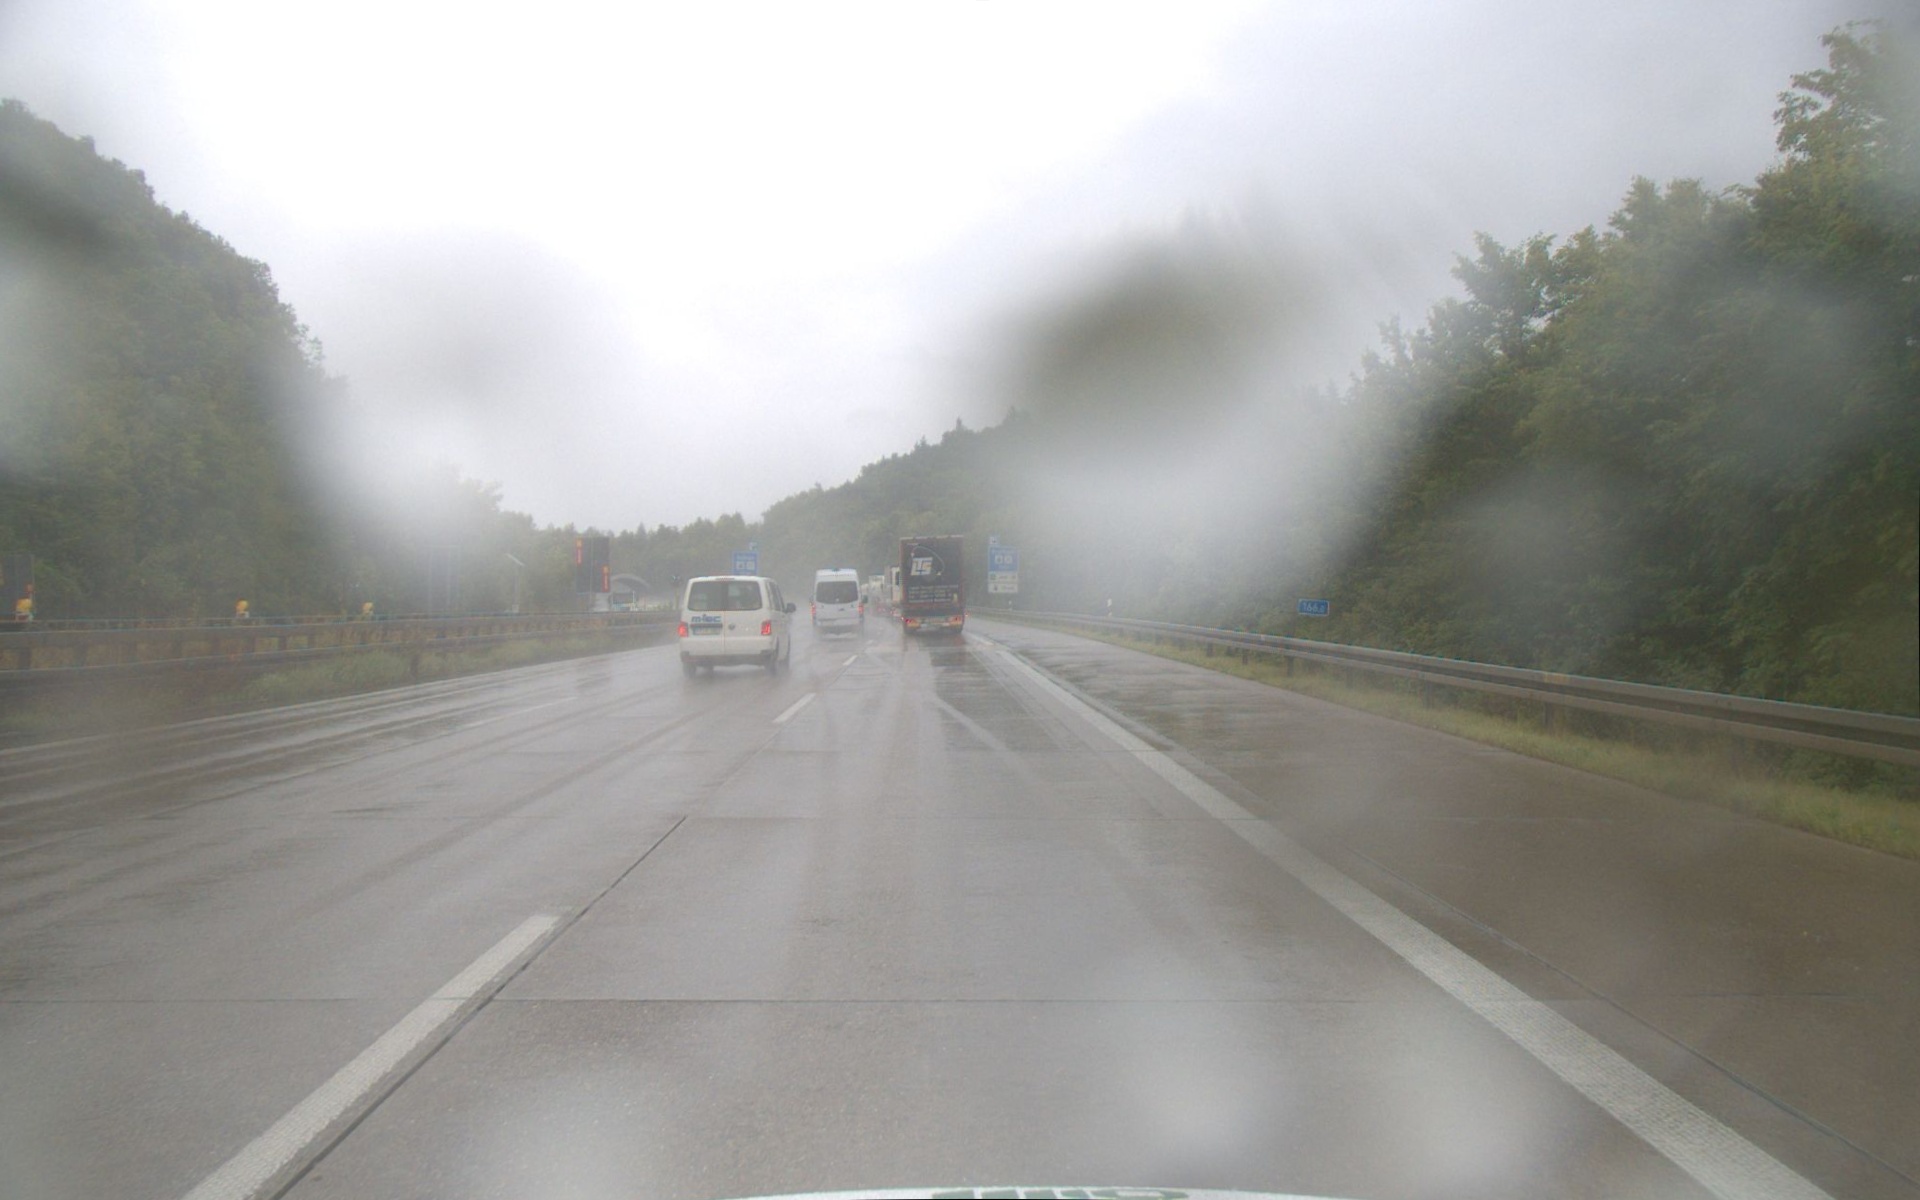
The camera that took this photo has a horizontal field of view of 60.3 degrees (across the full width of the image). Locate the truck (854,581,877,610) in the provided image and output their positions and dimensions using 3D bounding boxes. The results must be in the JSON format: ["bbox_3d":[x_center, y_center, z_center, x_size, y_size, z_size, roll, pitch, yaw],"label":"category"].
[{"bbox_3d":[-10.774,-0.548,188.390,1.956,3.225,6.720,0,0,-8],"label":"truck"}]

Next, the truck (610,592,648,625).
[{"bbox_3d":[-32.331,0.764,161.559,2.251,3.071,7.920,1,0,-1],"label":"truck"}]

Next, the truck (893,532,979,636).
[{"bbox_3d":[-1.117,-0.788,70.583,3.317,4.037,8.664,-2,2,-2],"label":"truck"}]

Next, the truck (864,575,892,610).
[{"bbox_3d":[-7.767,-0.659,156.234,1.956,3.225,6.720,0,0,-8],"label":"truck"}]

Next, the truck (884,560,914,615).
[{"bbox_3d":[-4.483,-0.898,120.963,1.954,3.872,6.728,0,0,-4],"label":"truck"}]

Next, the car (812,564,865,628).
[{"bbox_3d":[-4.740,-0.144,64.103,1.863,2.374,5.243,0,0,-6],"label":"car"}]

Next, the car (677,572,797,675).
[{"bbox_3d":[-4.439,0.446,33.594,1.861,1.927,5.041,1,0,-2],"label":"car"}]
